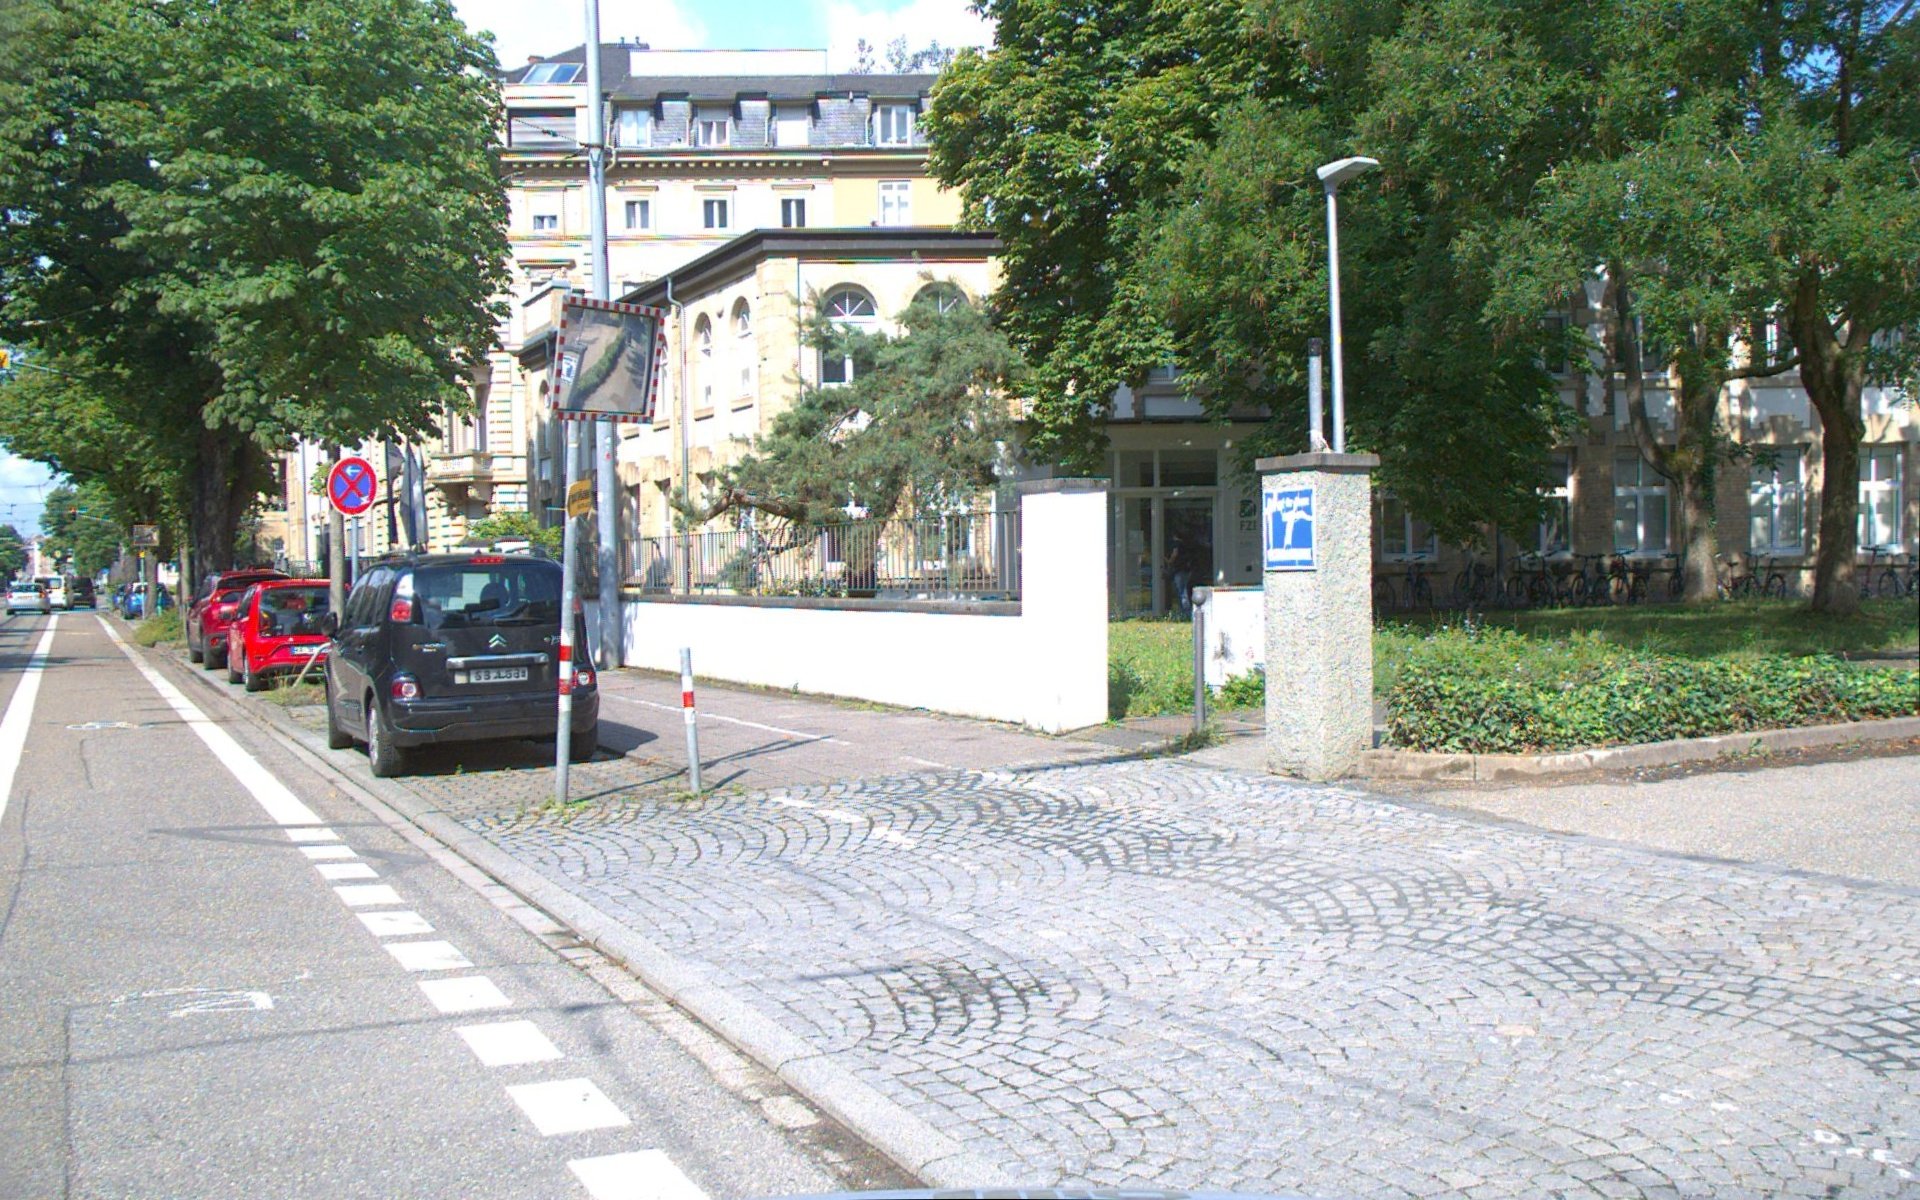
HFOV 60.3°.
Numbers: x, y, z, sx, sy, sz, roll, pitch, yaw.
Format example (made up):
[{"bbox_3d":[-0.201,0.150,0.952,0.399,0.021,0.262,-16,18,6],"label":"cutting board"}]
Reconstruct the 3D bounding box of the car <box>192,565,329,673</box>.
[{"bbox_3d":[-12.674,0.308,29.843,1.937,1.735,3.965,4,-1,-27],"label":"car"}]

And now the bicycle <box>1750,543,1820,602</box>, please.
[{"bbox_3d":[16.201,-0.517,32.525,0.410,1.075,2.067,3,-1,3],"label":"bicycle"}]

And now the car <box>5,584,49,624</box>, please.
[{"bbox_3d":[-43.538,0.162,77.241,1.603,1.713,3.531,4,-1,-28],"label":"car"}]

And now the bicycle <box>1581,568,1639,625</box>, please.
[{"bbox_3d":[12.777,-0.057,32.553,0.410,1.075,2.067,0,-1,3],"label":"bicycle"}]

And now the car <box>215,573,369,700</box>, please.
[{"bbox_3d":[-9.581,0.451,23.593,1.655,1.639,3.551,0,1,-29],"label":"car"}]

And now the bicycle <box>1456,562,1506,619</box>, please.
[{"bbox_3d":[10.312,-0.172,32.776,0.410,1.075,2.067,0,-1,3],"label":"bicycle"}]

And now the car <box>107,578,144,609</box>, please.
[{"bbox_3d":[-45.117,-0.348,89.420,1.603,1.543,3.531,4,-1,-28],"label":"car"}]

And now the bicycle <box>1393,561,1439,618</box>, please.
[{"bbox_3d":[9.027,-0.192,32.813,0.410,1.075,2.067,0,-1,3],"label":"bicycle"}]

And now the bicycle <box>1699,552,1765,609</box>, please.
[{"bbox_3d":[15.229,-0.368,32.669,0.410,1.075,2.067,0,-1,2],"label":"bicycle"}]

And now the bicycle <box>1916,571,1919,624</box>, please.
[{"bbox_3d":[19.571,-0.070,32.528,0.410,1.075,2.067,0,-1,3],"label":"bicycle"}]

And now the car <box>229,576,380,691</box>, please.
[{"bbox_3d":[-9.447,0.433,23.709,1.648,1.512,3.249,1,0,-28],"label":"car"}]

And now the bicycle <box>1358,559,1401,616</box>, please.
[{"bbox_3d":[8.319,-0.233,32.861,0.410,1.075,2.067,0,-1,3],"label":"bicycle"}]

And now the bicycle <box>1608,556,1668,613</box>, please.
[{"bbox_3d":[13.431,-0.290,32.800,0.410,1.075,2.067,0,-1,3],"label":"bicycle"}]

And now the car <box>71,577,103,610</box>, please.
[{"bbox_3d":[-53.495,-0.417,101.309,1.603,1.881,3.531,4,-1,-28],"label":"car"}]

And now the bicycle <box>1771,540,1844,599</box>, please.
[{"bbox_3d":[16.664,-0.587,32.565,0.410,1.075,2.067,3,-1,3],"label":"bicycle"}]

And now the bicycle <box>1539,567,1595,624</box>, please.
[{"bbox_3d":[11.956,-0.073,32.625,0.410,1.075,2.067,0,-1,3],"label":"bicycle"}]

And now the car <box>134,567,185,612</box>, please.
[{"bbox_3d":[-32.380,-0.432,66.878,1.603,1.713,3.531,4,-1,-28],"label":"car"}]

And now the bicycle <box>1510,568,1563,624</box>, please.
[{"bbox_3d":[11.408,-0.065,32.801,0.410,1.075,2.067,0,-1,3],"label":"bicycle"}]

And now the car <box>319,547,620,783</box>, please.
[{"bbox_3d":[-4.113,0.405,13.512,1.655,1.639,3.551,0,2,-29],"label":"car"}]

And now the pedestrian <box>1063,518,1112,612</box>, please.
[{"bbox_3d":[2.374,-0.642,30.906,0.755,1.707,0.808,3,-1,-2],"label":"pedestrian"}]

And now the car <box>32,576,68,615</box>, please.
[{"bbox_3d":[-50.322,-0.243,91.456,1.603,2.035,3.531,4,-1,-29],"label":"car"}]

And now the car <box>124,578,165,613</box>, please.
[{"bbox_3d":[-39.951,-0.239,80.986,1.603,1.543,3.531,4,-1,-28],"label":"car"}]
